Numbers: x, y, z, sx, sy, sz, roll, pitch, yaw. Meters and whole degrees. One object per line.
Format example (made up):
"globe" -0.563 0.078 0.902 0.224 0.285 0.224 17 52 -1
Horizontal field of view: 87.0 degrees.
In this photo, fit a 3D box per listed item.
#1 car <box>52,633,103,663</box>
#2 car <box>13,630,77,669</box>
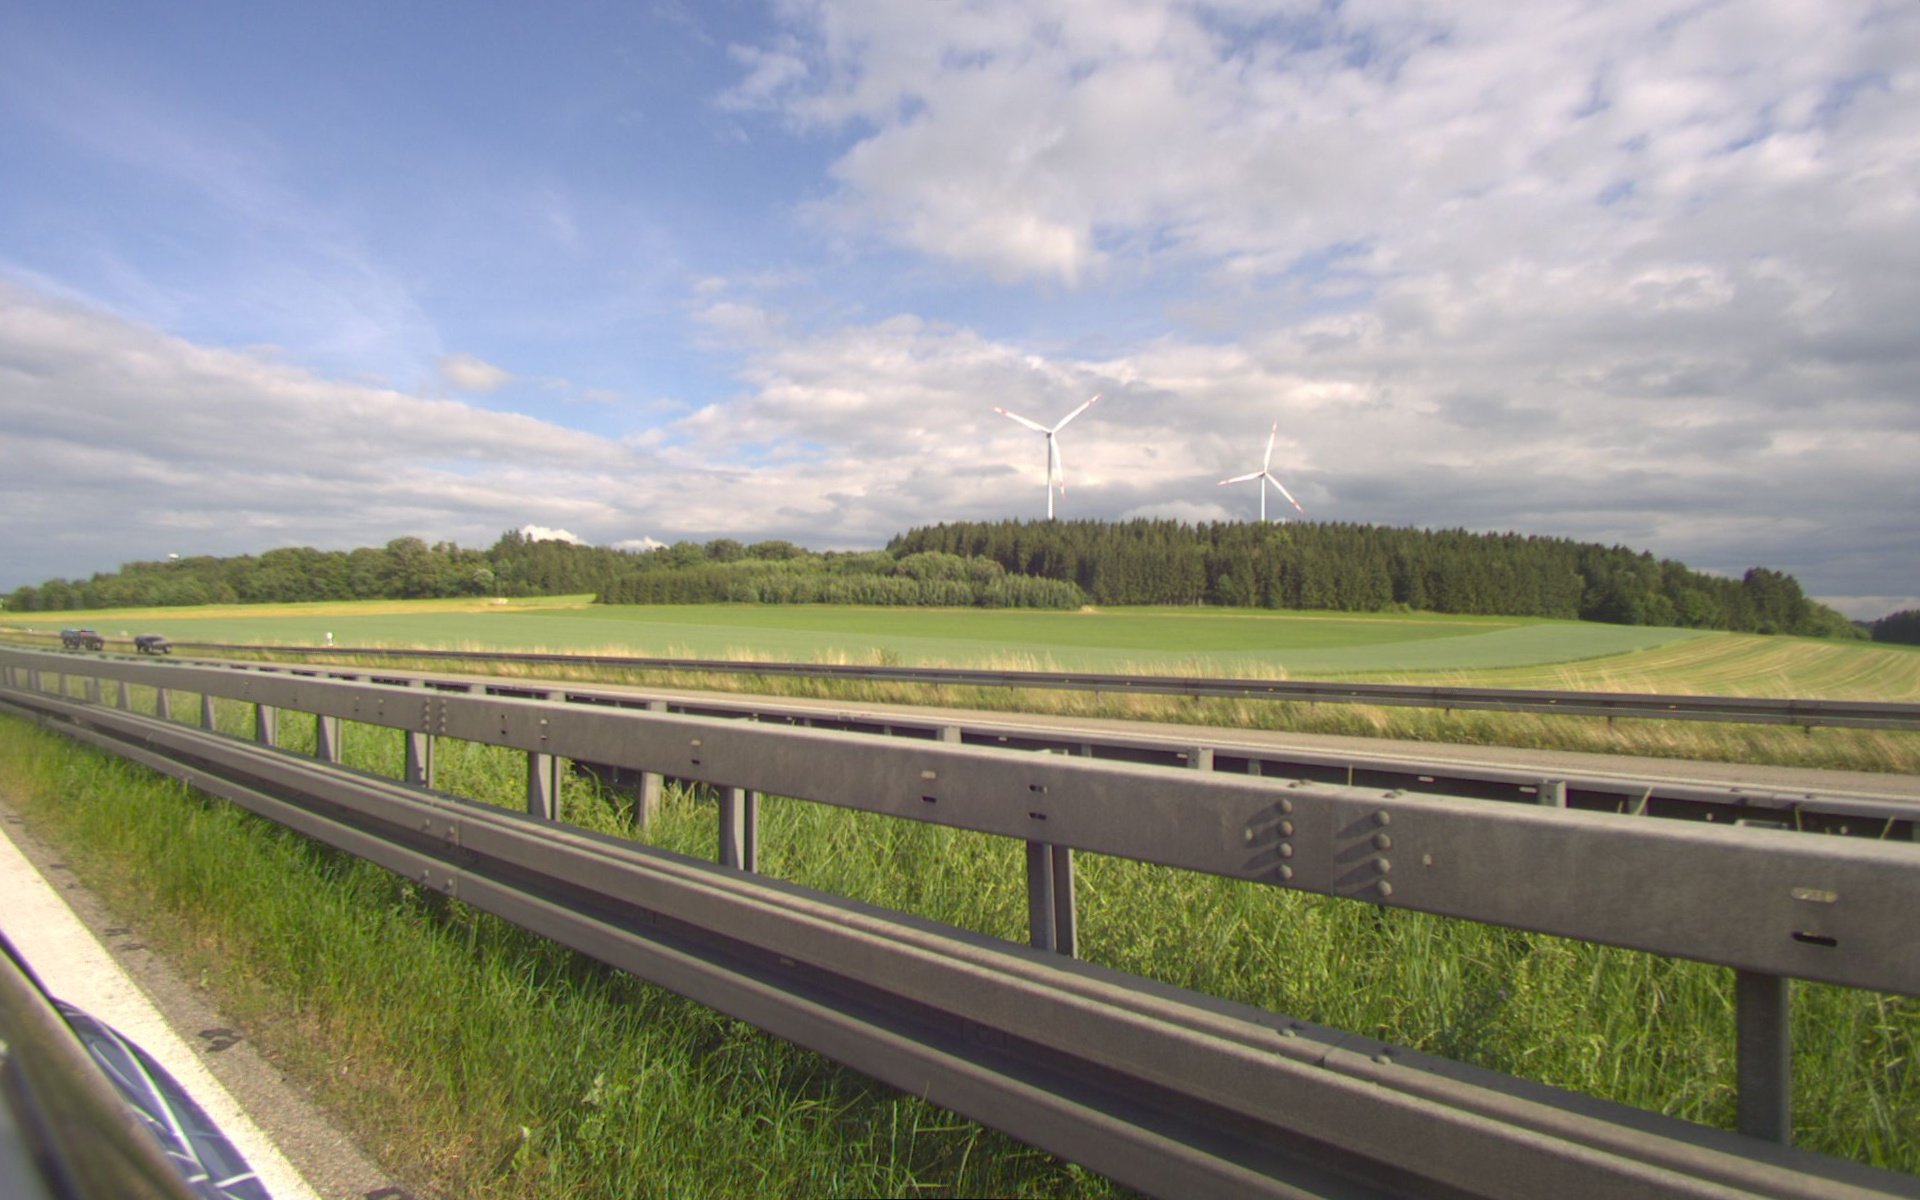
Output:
"car" -51.616 2.796 59.196 4.115 1.600 1.716 -1 -1 41
"car" -39.565 2.111 43.749 4.157 1.526 1.581 -1 -1 41
